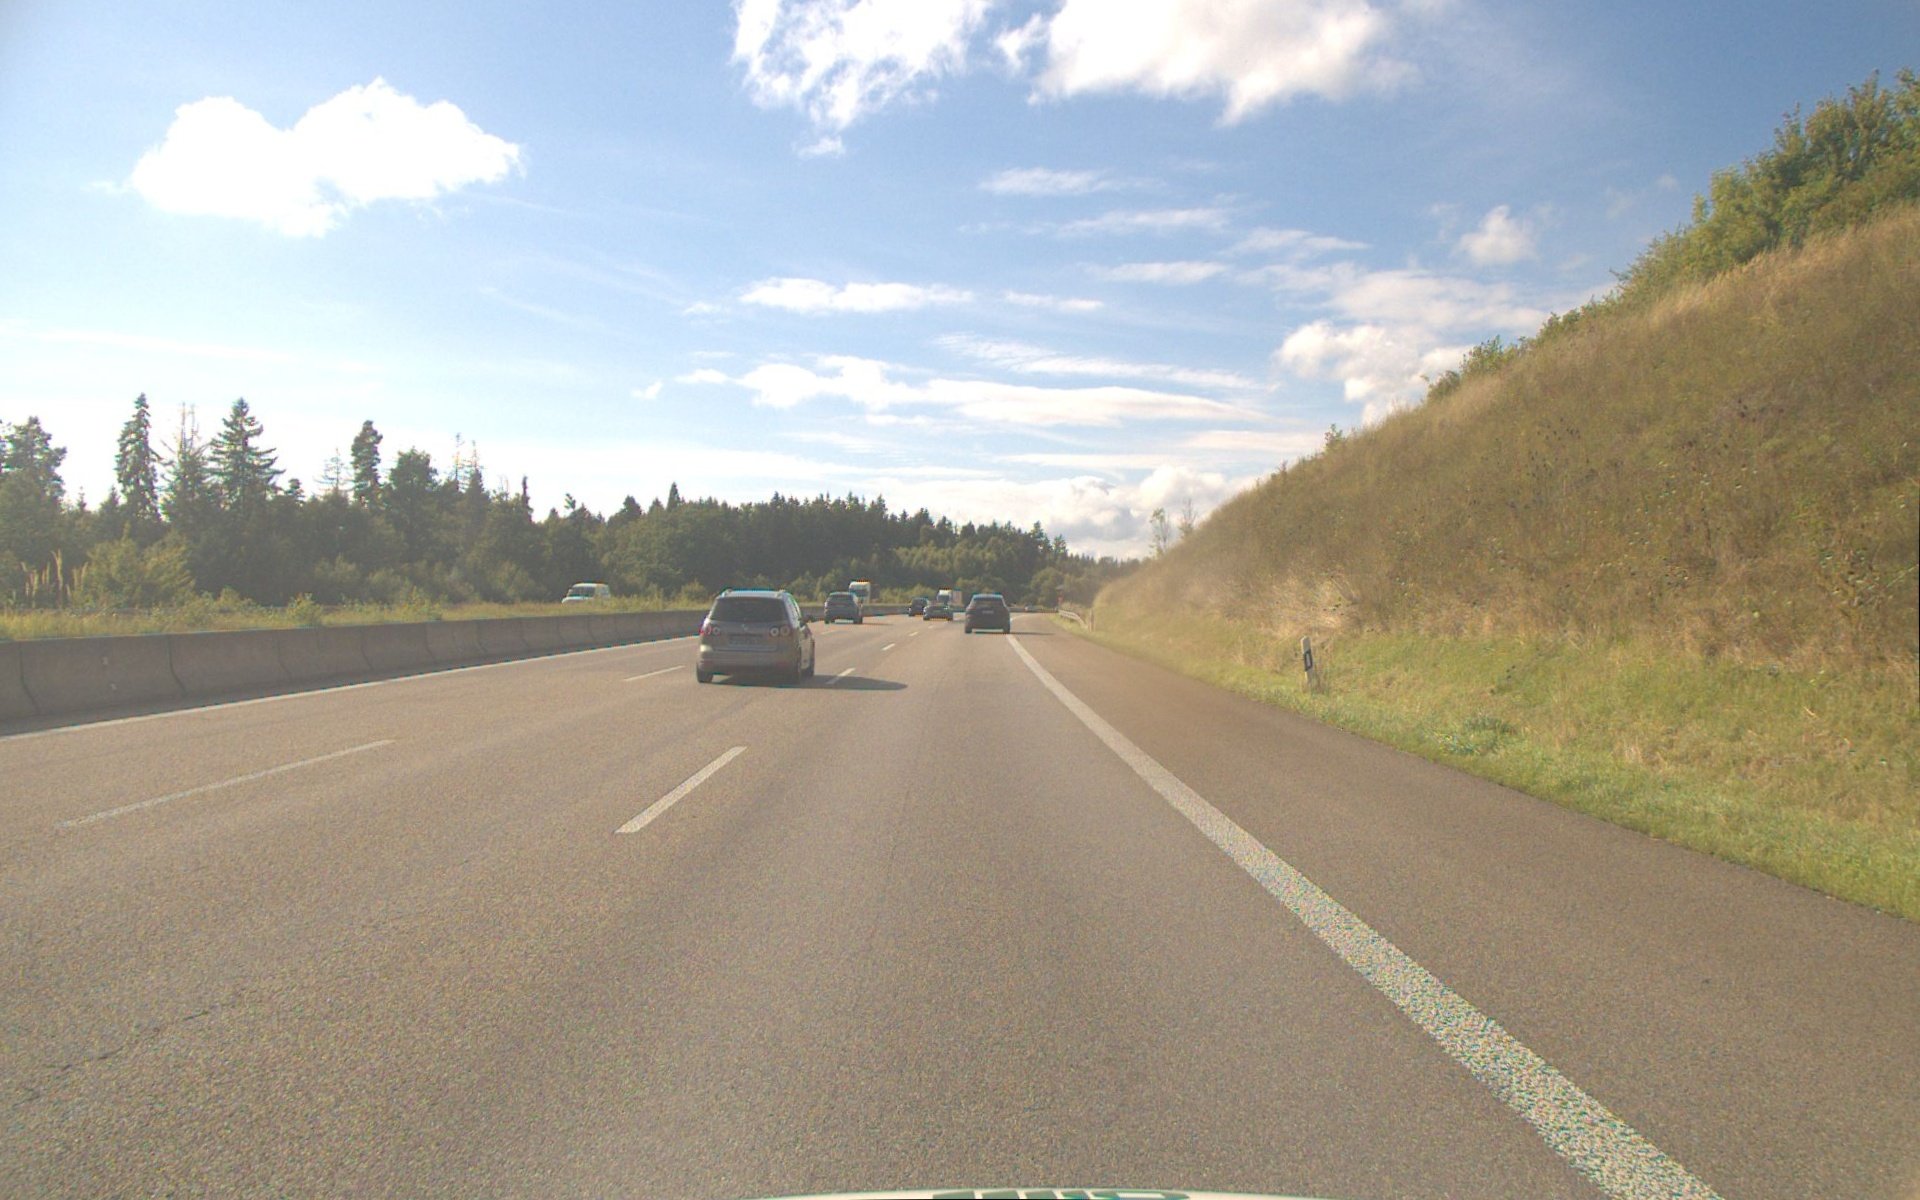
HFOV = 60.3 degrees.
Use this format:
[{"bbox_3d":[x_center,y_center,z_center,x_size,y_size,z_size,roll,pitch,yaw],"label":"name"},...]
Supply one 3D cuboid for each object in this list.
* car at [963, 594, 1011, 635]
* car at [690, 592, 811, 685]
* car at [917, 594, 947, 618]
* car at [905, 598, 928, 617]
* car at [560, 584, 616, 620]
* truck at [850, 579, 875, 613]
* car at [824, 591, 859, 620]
[{"bbox_3d":[1.121,0.605,70.538,1.836,1.704,3.888,1,0,-2],"label":"car"},{"bbox_3d":[-3.634,0.634,29.236,1.836,1.523,3.877,1,0,-3],"label":"car"},{"bbox_3d":[-1.843,0.374,110.022,1.835,1.523,3.880,1,0,0],"label":"car"},{"bbox_3d":[-3.604,0.592,138.328,1.835,1.523,3.879,1,0,0],"label":"car"},{"bbox_3d":[-21.777,0.096,97.037,1.952,2.049,5.387,1,0,1],"label":"car"},{"bbox_3d":[-13.118,-0.532,223.368,2.744,4.469,5.466,1,0,2],"label":"truck"},{"bbox_3d":[-6.382,0.289,89.576,1.836,1.523,3.877,1,0,-3],"label":"car"}]
